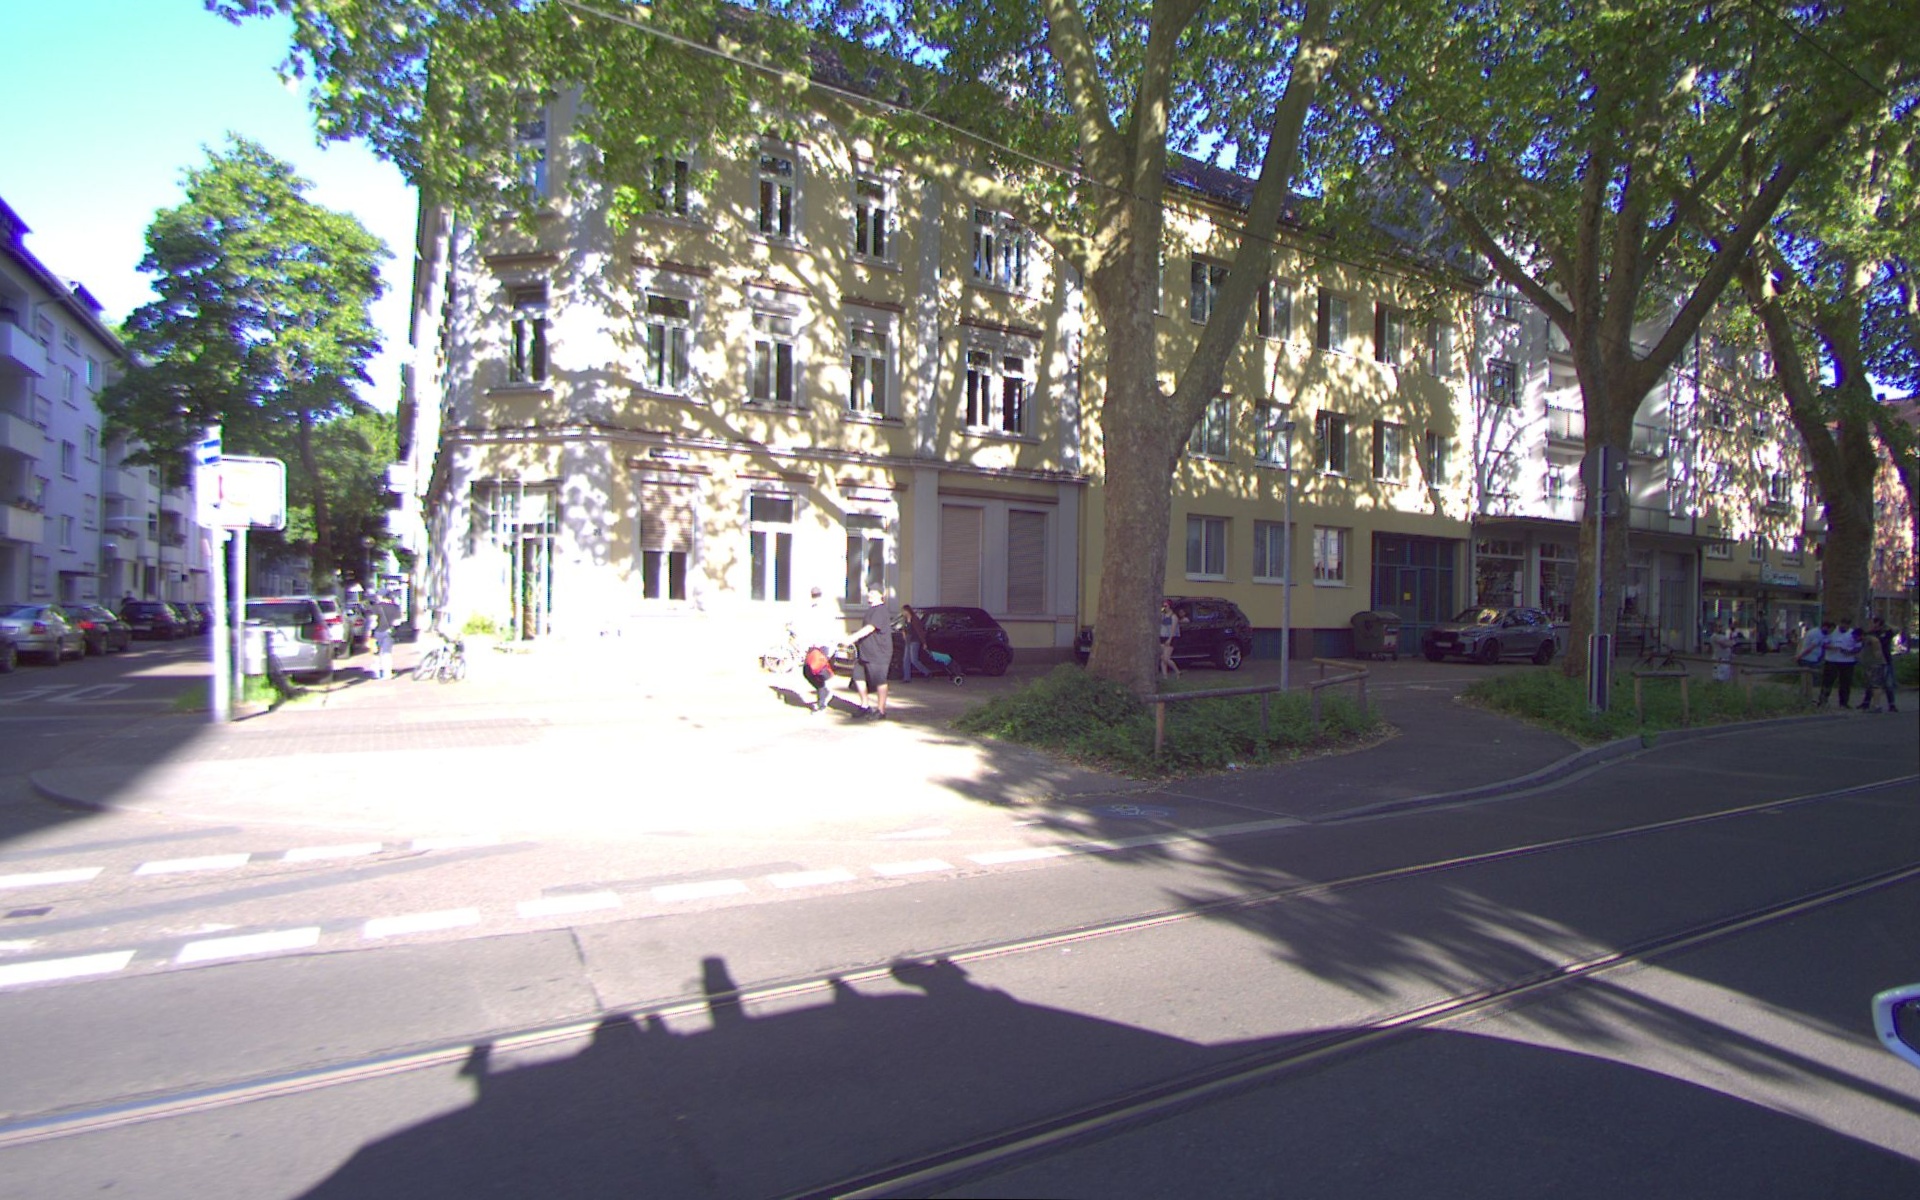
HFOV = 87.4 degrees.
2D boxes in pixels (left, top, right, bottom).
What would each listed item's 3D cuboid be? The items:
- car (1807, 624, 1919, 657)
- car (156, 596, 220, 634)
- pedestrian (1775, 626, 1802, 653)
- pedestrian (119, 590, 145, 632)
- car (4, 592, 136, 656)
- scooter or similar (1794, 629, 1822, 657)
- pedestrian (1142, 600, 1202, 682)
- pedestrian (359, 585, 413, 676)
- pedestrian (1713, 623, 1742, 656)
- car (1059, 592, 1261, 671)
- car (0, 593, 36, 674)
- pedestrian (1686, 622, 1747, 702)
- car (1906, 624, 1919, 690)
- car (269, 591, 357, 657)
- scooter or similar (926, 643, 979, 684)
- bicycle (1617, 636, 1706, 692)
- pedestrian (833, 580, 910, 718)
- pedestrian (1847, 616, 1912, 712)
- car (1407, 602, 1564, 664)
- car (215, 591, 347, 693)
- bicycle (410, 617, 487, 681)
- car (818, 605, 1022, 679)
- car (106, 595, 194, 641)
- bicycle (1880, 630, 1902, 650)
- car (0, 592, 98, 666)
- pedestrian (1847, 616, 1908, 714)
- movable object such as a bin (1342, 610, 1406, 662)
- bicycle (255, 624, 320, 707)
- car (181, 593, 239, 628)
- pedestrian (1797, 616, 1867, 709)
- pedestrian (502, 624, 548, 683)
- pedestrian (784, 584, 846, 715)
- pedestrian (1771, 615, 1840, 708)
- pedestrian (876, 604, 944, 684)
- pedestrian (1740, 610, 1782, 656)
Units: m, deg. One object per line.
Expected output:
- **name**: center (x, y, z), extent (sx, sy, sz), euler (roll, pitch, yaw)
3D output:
- **car**: center (50.096, 2.206, 55.747), extent (1.982, 1.475, 4.396), euler (1, 2, -38)
- **car**: center (-35.524, 0.664, 46.313), extent (1.816, 1.628, 4.121), euler (2, 0, -30)
- **pedestrian**: center (37.521, 1.802, 45.473), extent (0.662, 1.182, 0.644), euler (2, 0, -4)
- **pedestrian**: center (-35.654, 0.472, 43.263), extent (0.716, 1.803, 0.663), euler (2, 0, -33)
- **car**: center (-25.021, 0.642, 28.401), extent (1.977, 1.628, 4.121), euler (2, 0, -31)
- **scooter or similar**: center (37.647, 1.910, 44.609), extent (0.662, 1.182, 0.644), euler (2, 0, -4)
- **pedestrian**: center (4.427, 0.850, 20.980), extent (0.999, 1.659, 0.707), euler (2, 0, -33)
- **pedestrian**: center (-11.139, 0.582, 19.494), extent (0.791, 1.730, 0.776), euler (2, 0, -37)
- **pedestrian**: center (31.703, 1.626, 41.478), extent (0.632, 1.289, 0.674), euler (2, 0, -8)
- **car**: center (4.915, 0.766, 24.537), extent (4.638, 1.760, 1.985), euler (2, 0, -29)
- **car**: center (-20.241, 0.657, 19.977), extent (1.875, 1.628, 4.122), euler (2, -1, -30)
- **pedestrian**: center (16.186, 1.309, 21.501), extent (0.699, 1.631, 0.771), euler (2, 0, 5)
- **car**: center (25.214, 1.446, 24.631), extent (4.236, 1.582, 1.906), euler (2, 0, -32)
- **car**: center (-18.034, 0.637, 28.151), extent (1.872, 1.693, 4.121), euler (2, 0, -31)
- **scooter or similar**: center (-0.144, 1.226, 19.526), extent (0.887, 0.764, 0.525), euler (2, 0, -32)
- **bicycle**: center (15.425, 1.387, 22.138), extent (0.558, 1.094, 1.851), euler (2, 0, -3)
- **pedestrian**: center (-1.194, 0.639, 13.539), extent (0.728, 1.781, 0.732), euler (2, 0, -36)
- **pedestrian**: center (17.850, 1.221, 19.498), extent (0.762, 1.800, 0.708), euler (2, 0, -31)
- **car**: center (16.201, 1.027, 30.905), extent (4.840, 1.756, 1.984), euler (2, 0, -30)
- **car**: center (-12.888, 0.698, 19.283), extent (1.779, 1.660, 3.981), euler (-3, 2, -30)
- **bicycle**: center (-9.746, 0.908, 19.118), extent (1.840, 1.076, 0.653), euler (2, 3, 42)
- **car**: center (-0.817, 0.867, 21.281), extent (3.957, 1.406, 1.769), euler (2, 0, -33)
- **car**: center (-30.926, 0.647, 38.466), extent (1.977, 1.628, 4.121), euler (2, 0, -31)
- **bicycle**: center (54.711, 2.329, 59.033), extent (1.620, 1.099, 0.538), euler (-1, 1, -32)
- **car**: center (-22.631, 0.647, 24.276), extent (1.977, 1.628, 4.121), euler (2, 0, -31)
- **pedestrian**: center (17.260, 1.201, 18.913), extent (0.759, 1.758, 0.710), euler (2, 0, 40)
- **movable object such as a bin**: center (12.555, 1.080, 30.458), extent (1.328, 1.522, 1.224), euler (2, 0, -31)
- **bicycle**: center (-9.876, 0.921, 14.721), extent (0.650, 1.076, 1.847), euler (2, 0, -38)
- **car**: center (-38.192, 0.512, 51.237), extent (1.910, 1.628, 4.121), euler (2, 0, -31)
- **pedestrian**: center (17.059, 1.198, 19.663), extent (0.699, 1.758, 0.771), euler (2, 0, 11)
- **pedestrian**: center (-8.136, 0.987, 18.795), extent (0.533, 1.054, 0.545), euler (2, 0, 27)
- **pedestrian**: center (-2.058, 0.688, 14.348), extent (0.709, 1.803, 0.670), euler (2, 0, 2)
- **pedestrian**: center (16.516, 1.182, 19.628), extent (0.708, 1.758, 0.766), euler (2, 0, -25)
- **pedestrian**: center (-0.971, 0.840, 19.581), extent (1.057, 1.498, 0.768), euler (2, 0, -32)
- **pedestrian**: center (34.431, 1.416, 43.187), extent (1.047, 1.889, 1.100), euler (2, 0, -33)
